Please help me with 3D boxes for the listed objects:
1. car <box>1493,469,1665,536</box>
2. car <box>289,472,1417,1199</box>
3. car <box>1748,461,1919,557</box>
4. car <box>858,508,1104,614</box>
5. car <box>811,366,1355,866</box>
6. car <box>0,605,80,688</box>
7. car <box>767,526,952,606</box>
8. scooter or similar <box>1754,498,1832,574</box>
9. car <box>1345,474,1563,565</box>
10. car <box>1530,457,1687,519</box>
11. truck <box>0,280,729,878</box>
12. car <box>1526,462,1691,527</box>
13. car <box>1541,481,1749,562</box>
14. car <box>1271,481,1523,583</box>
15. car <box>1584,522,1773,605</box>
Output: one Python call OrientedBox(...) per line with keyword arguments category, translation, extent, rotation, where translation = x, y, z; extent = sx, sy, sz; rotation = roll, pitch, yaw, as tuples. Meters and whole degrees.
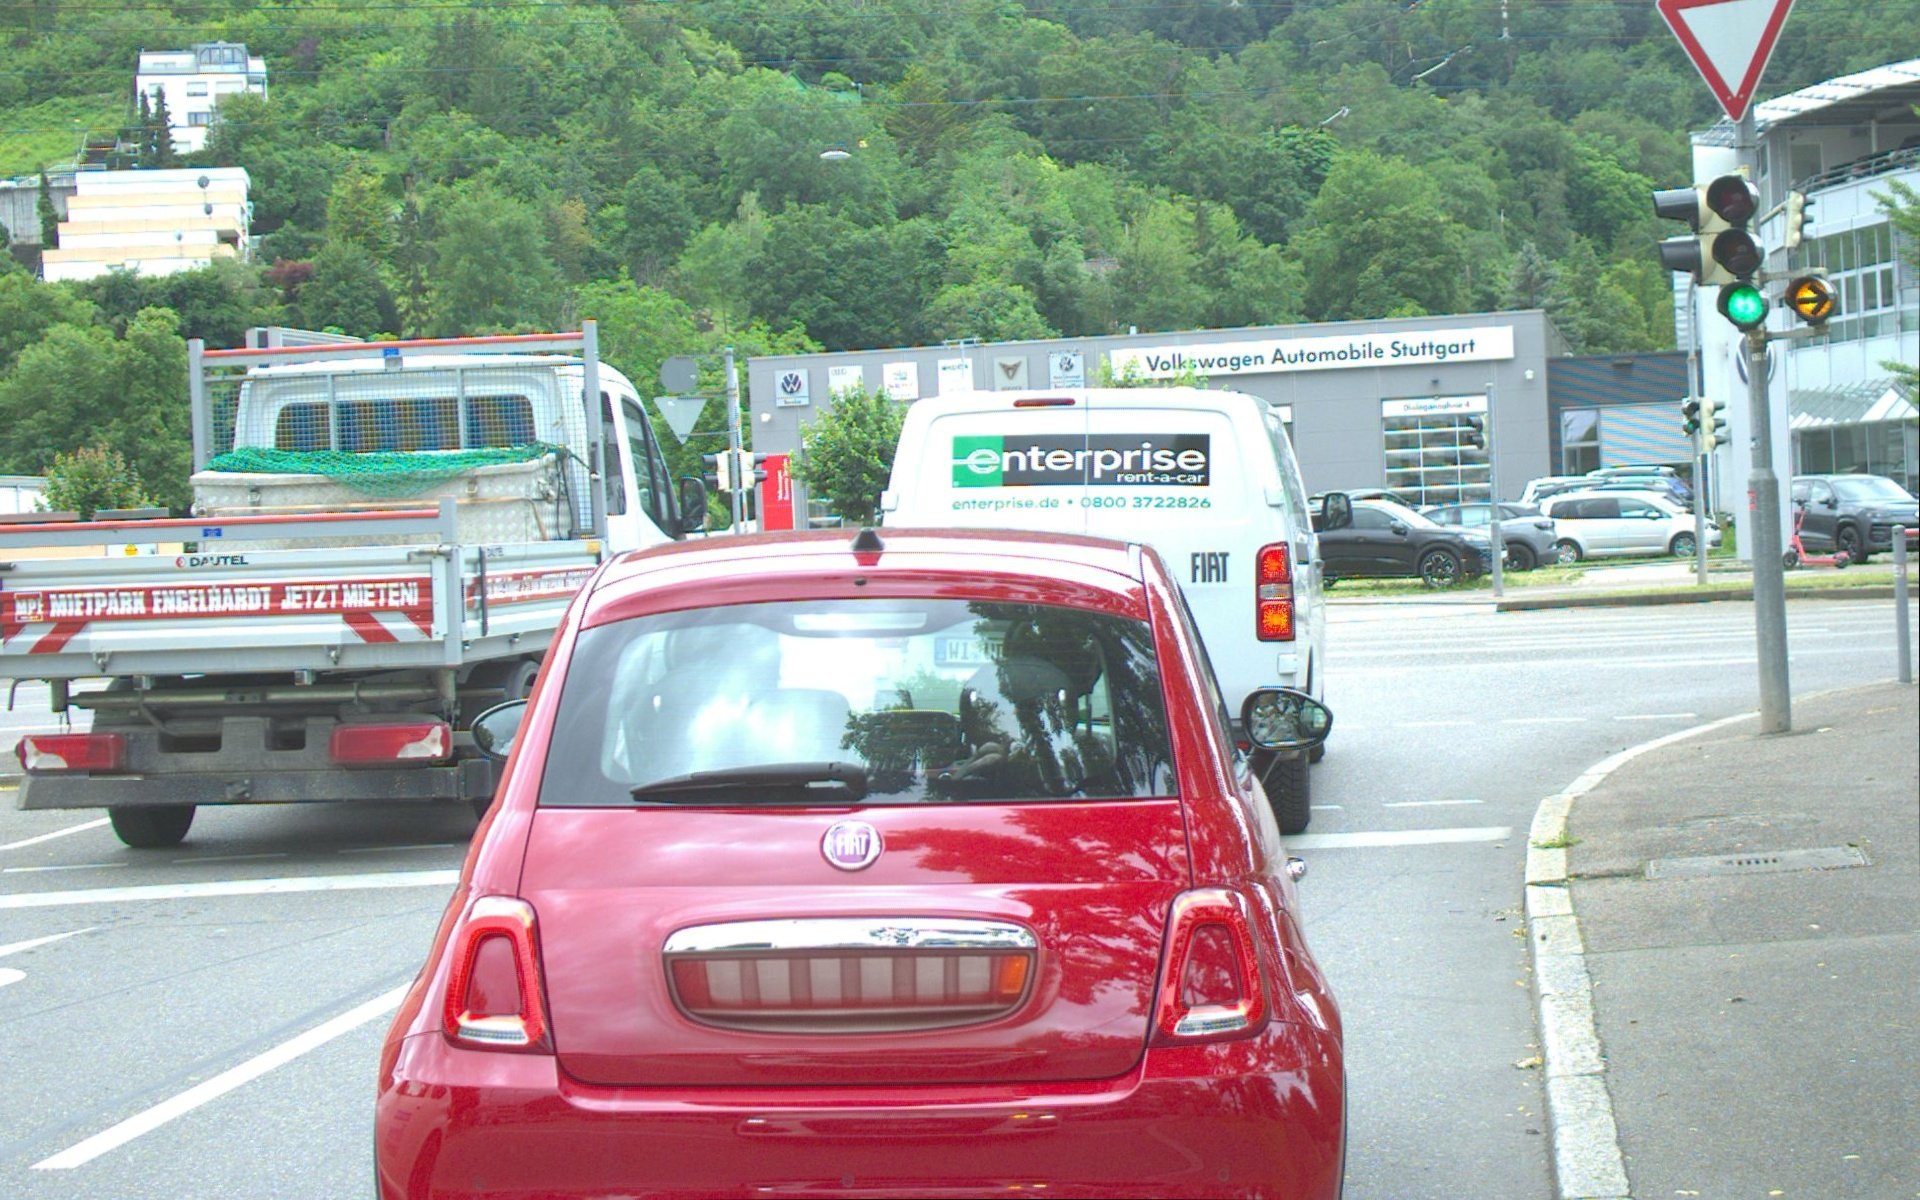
OrientedBox(category="car", translation=(16.872, -2.655, 93.900), extent=(4.497, 1.723, 1.999), rotation=(1, 0, 7))
OrientedBox(category="car", translation=(-0.131, 0.535, 7.231), extent=(1.697, 1.520, 4.000), rotation=(1, 1, 1))
OrientedBox(category="car", translation=(16.280, -1.635, 62.391), extent=(1.993, 1.634, 4.001), rotation=(-2, 1, -19))
OrientedBox(category="car", translation=(0.476, -0.831, 75.654), extent=(5.004, 2.007, 1.999), rotation=(-3, -1, 13))
OrientedBox(category="car", translation=(0.766, -0.048, 16.580), extent=(1.999, 2.033, 4.830), rotation=(1, 3, 9))
OrientedBox(category="car", translation=(-22.106, 1.039, 79.707), extent=(1.994, 1.833, 4.510), rotation=(1, 0, 3))
OrientedBox(category="car", translation=(-2.591, -0.867, 89.311), extent=(4.497, 1.990, 1.999), rotation=(1, 0, 7))
OrientedBox(category="scooter or similar", translation=(14.421, -1.112, 59.549), extent=(1.200, 1.284, 0.575), rotation=(1, 0, 3))
OrientedBox(category="car", translation=(9.775, -1.582, 68.235), extent=(3.987, 1.700, 2.000), rotation=(1, 0, -1))
OrientedBox(category="car", translation=(19.427, -3.344, 103.144), extent=(4.497, 1.723, 1.999), rotation=(1, 0, 7))
OrientedBox(category="truck", translation=(-2.861, -0.260, 17.151), extent=(2.314, 2.413, 5.654), rotation=(-2, 4, 7))
OrientedBox(category="car", translation=(18.467, -2.994, 98.057), extent=(4.497, 1.723, 1.999), rotation=(1, 0, 7))
OrientedBox(category="car", translation=(15.659, -1.789, 78.773), extent=(4.497, 1.723, 1.999), rotation=(1, 0, 7))
OrientedBox(category="car", translation=(7.632, -1.206, 59.910), extent=(3.991, 1.634, 1.998), rotation=(1, 5, 21))
OrientedBox(category="car", translation=(18.075, -0.913, 86.692), extent=(4.497, 1.990, 1.999), rotation=(1, 0, 7))
